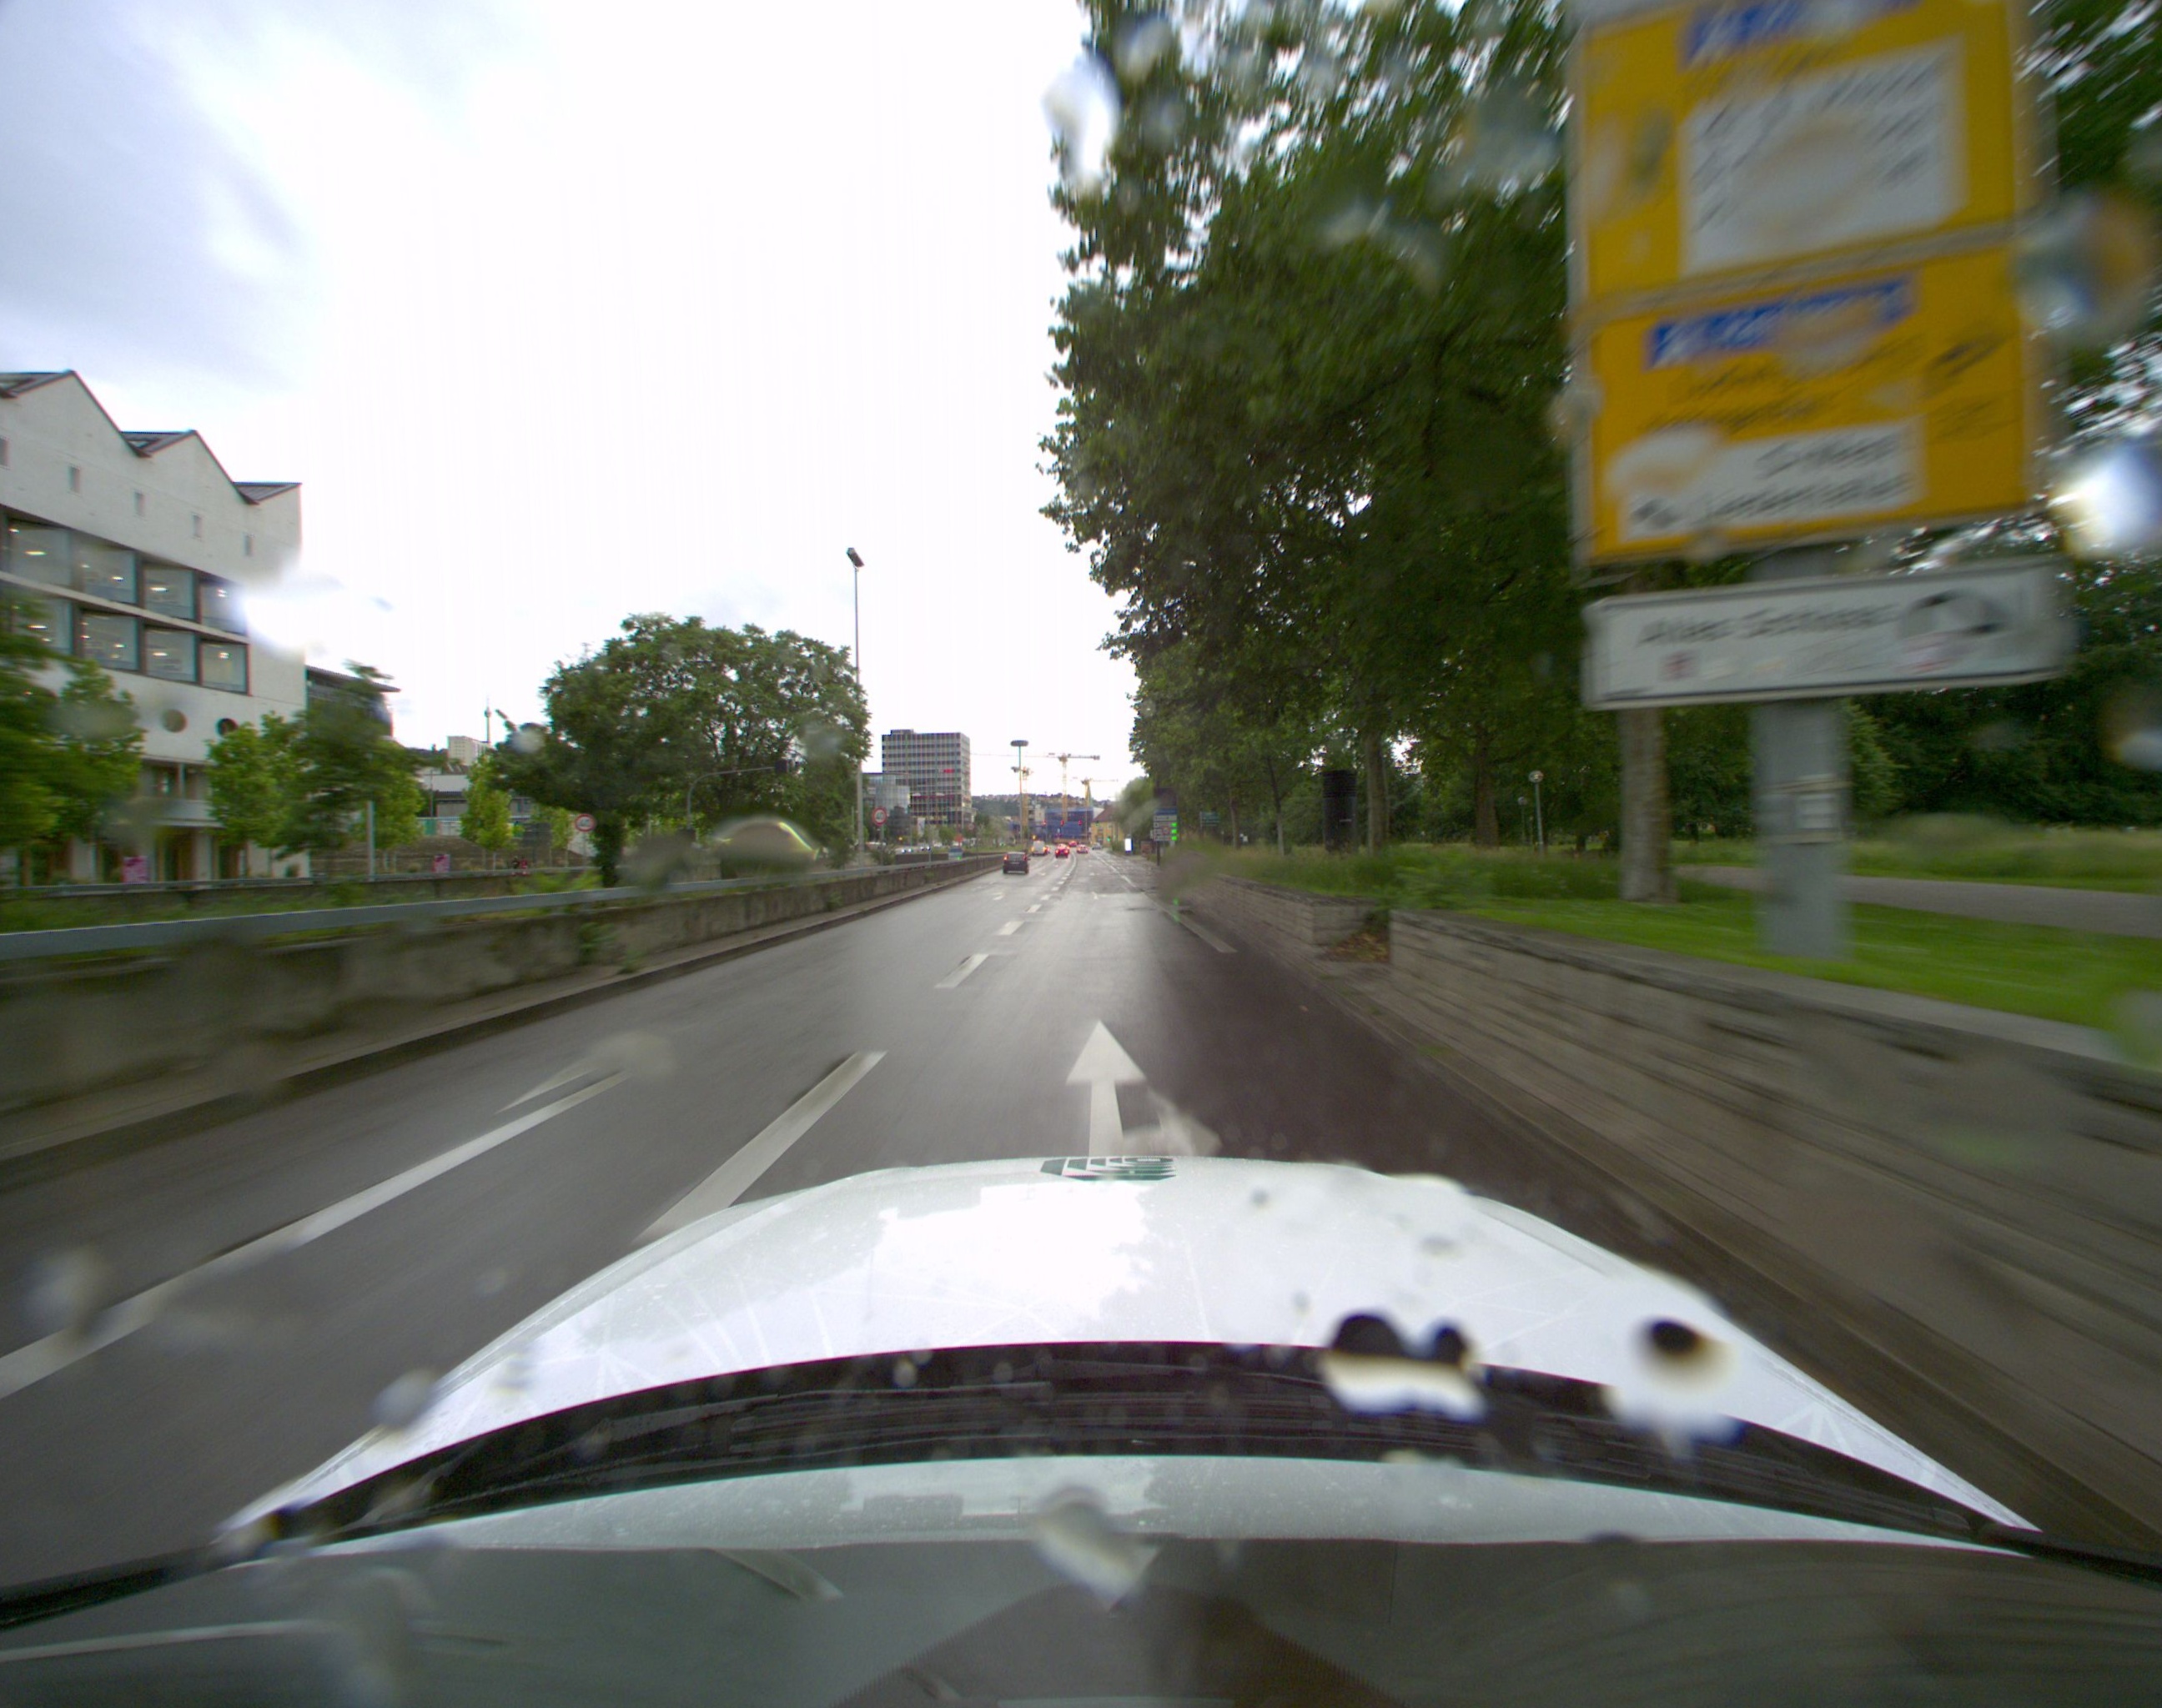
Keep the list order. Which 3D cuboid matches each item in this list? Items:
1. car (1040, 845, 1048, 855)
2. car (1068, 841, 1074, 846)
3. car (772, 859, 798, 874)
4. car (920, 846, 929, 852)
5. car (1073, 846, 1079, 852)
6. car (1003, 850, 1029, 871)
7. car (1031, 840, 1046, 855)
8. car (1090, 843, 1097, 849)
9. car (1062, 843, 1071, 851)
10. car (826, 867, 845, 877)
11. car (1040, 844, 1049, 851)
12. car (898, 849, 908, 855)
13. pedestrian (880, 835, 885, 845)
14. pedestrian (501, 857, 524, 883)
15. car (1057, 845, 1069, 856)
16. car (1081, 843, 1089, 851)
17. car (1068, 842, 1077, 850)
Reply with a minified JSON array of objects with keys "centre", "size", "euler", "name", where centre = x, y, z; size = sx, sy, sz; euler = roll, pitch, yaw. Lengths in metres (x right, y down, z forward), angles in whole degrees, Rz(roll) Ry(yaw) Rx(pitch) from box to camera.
[{"centre":[-6.239,-0.635,137.282],"size":[1.461,1.706,3.138],"euler":[0,0,-3],"name":"car"},{"centre":[-2.922,-2.923,227.852],"size":[1.473,1.360,3.138],"euler":[0,0,2],"name":"car"},{"centre":[-33.439,1.403,92.025],"size":[1.721,1.560,3.033],"euler":[0,0,1],"name":"car"},{"centre":[-35.865,-1.097,186.569],"size":[1.460,1.440,2.961],"euler":[0,0,-1],"name":"car"},{"centre":[-0.880,-0.981,154.408],"size":[1.072,0.990,1.972],"euler":[0,-1,2],"name":"car"},{"centre":[-4.404,0.445,55.542],"size":[1.538,1.415,3.899],"euler":[0,0,-2],"name":"car"},{"centre":[-6.766,-1.037,130.160],"size":[2.285,2.314,5.004],"euler":[0,0,-1],"name":"car"},{"centre":[2.841,-1.771,185.513],"size":[1.630,1.174,3.267],"euler":[0,-1,2],"name":"car"},{"centre":[-2.597,-1.233,146.851],"size":[1.489,1.369,3.031],"euler":[0,0,-2],"name":"car"},{"centre":[-29.585,2.137,98.115],"size":[1.483,1.129,3.049],"euler":[0,0,-2],"name":"car"},{"centre":[-6.528,-1.092,146.162],"size":[1.547,1.260,2.579],"euler":[0,0,-1],"name":"car"},{"centre":[-35.541,-0.384,162.826],"size":[1.339,1.352,2.931],"euler":[0,0,1],"name":"car"},{"centre":[-40.853,-2.920,167.558],"size":[0.765,2.090,0.726],"euler":[0,5,-2],"name":"pedestrian"},{"centre":[-41.833,1.189,59.964],"size":[1.085,1.866,0.827],"euler":[0,-1,-8],"name":"pedestrian"},{"centre":[-2.676,-0.503,119.785],"size":[1.749,1.471,4.219],"euler":[0,2,-2],"name":"car"},{"centre":[0.691,-1.240,148.118],"size":[1.439,1.359,2.413],"euler":[0,0,2],"name":"car"},{"centre":[-2.217,-2.138,215.711],"size":[2.153,1.879,3.772],"euler":[0,0,2],"name":"car"}]
